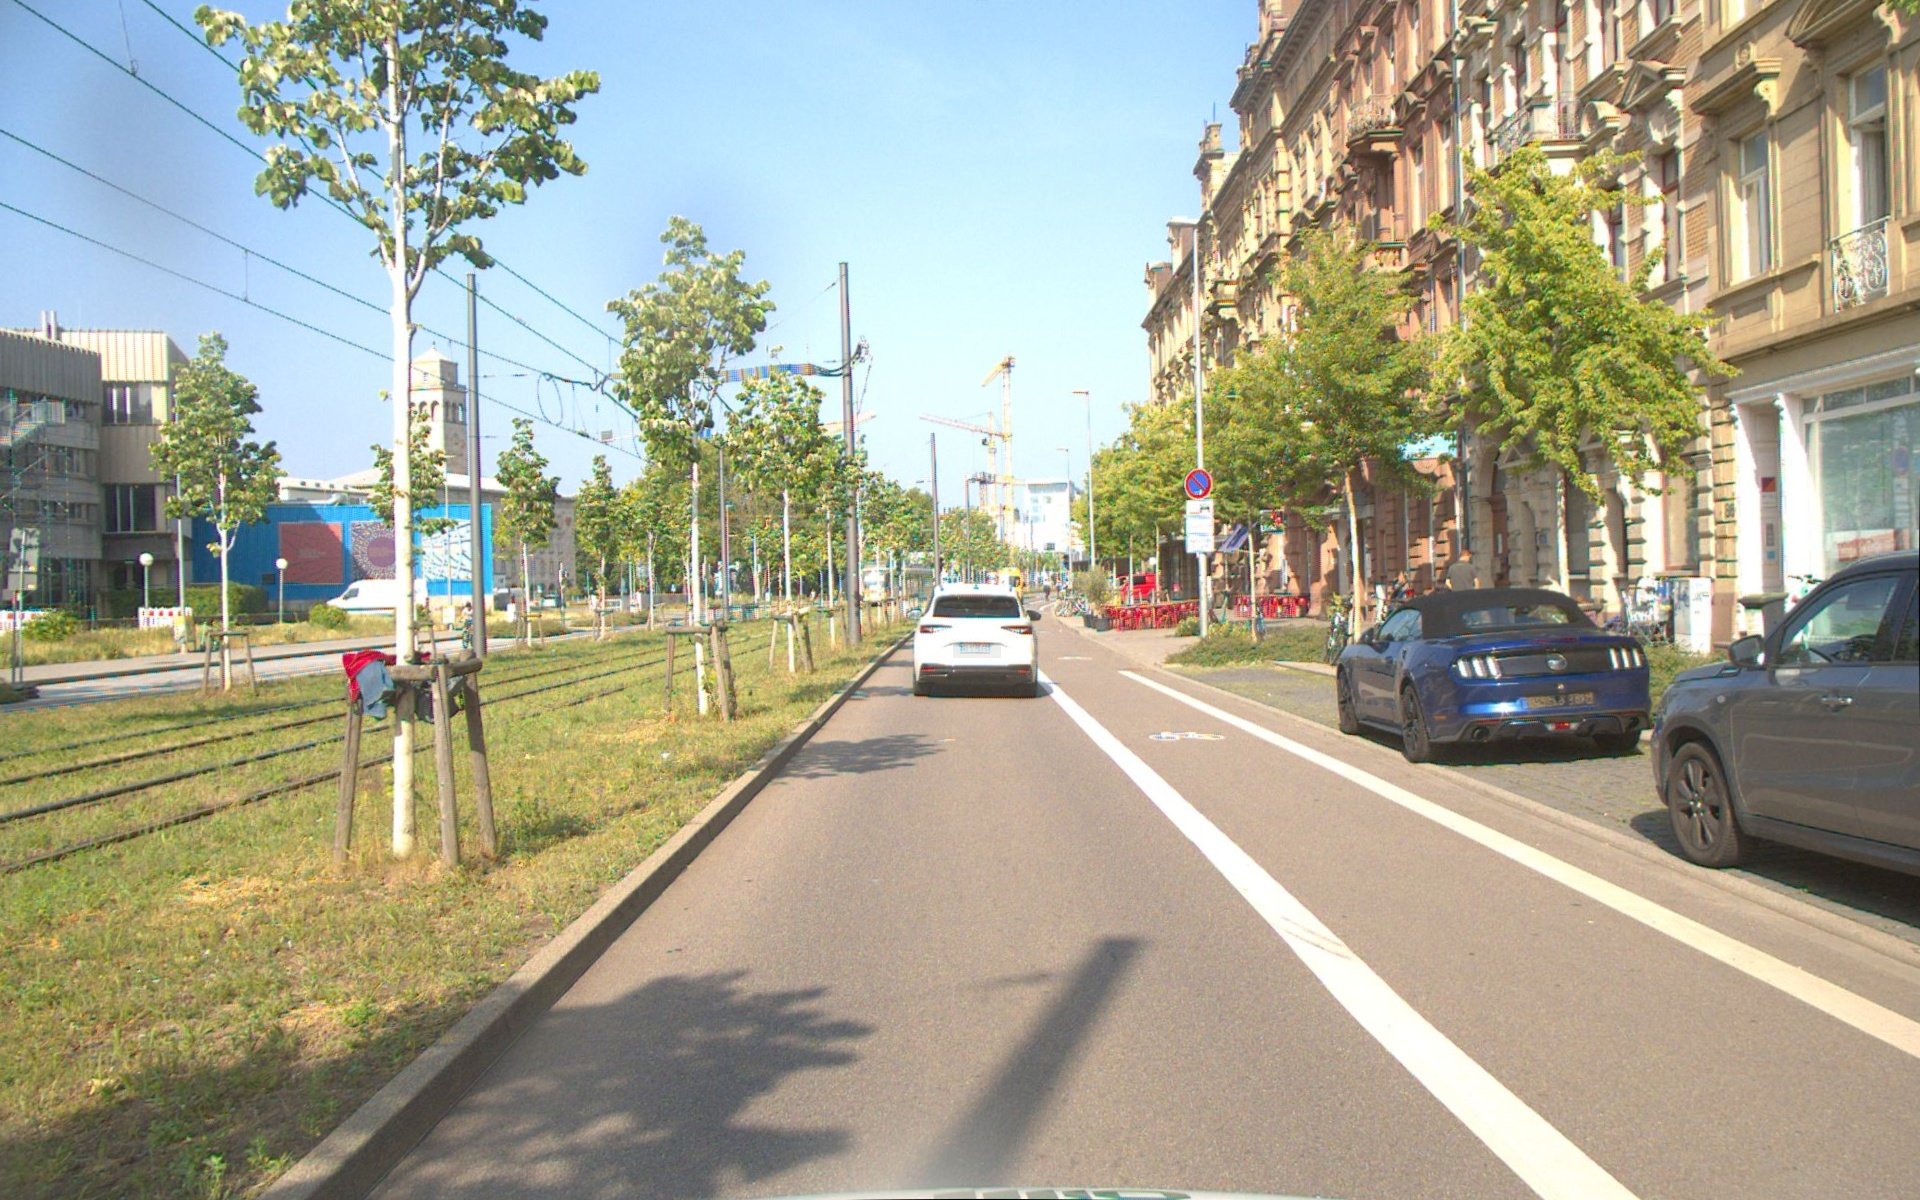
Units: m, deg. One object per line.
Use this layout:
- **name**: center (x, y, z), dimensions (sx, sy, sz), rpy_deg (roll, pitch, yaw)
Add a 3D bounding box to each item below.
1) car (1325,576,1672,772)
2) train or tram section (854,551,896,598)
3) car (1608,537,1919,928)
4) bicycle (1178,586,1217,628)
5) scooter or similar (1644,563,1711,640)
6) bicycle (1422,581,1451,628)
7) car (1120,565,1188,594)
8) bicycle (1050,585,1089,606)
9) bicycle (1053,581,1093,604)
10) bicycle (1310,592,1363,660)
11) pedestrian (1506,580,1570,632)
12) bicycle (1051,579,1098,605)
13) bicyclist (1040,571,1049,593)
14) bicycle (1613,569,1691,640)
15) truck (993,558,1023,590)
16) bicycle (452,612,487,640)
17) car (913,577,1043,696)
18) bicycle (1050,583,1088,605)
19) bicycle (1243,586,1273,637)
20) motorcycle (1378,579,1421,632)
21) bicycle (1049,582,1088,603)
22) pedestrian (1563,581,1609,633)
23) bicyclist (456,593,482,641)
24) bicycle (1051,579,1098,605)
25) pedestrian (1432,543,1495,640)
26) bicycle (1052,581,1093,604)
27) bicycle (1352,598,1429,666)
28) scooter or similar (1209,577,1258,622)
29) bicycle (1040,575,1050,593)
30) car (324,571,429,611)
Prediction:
- **car**: center (4.700, 0.543, 15.200), dimensions (1.701, 1.420, 4.716), rpy_deg (-3, 1, 1)
- **train or tram section**: center (-6.905, -2.030, 136.391), dimensions (2.839, 3.649, 12.476), rpy_deg (-2, 0, -1)
- **car**: center (4.805, 0.514, 7.601), dimensions (1.734, 1.616, 4.245), rpy_deg (-3, 1, -3)
- **bicycle**: center (6.690, 0.187, 46.664), dimensions (0.584, 1.142, 1.924), rpy_deg (-1, 1, -6)
- **scooter or similar**: center (10.943, 0.013, 25.232), dimensions (0.594, 1.144, 0.932), rpy_deg (-1, 1, 0)
- **bicycle**: center (10.834, 0.093, 37.650), dimensions (0.388, 1.036, 1.256), rpy_deg (-1, 0, 5)
- **car**: center (12.397, -1.297, 105.903), dimensions (4.262, 1.713, 2.002), rpy_deg (-1, 1, 6)
- **bicycle**: center (5.484, -0.230, 82.619), dimensions (1.894, 0.889, 0.441), rpy_deg (-4, 0, 1)
- **bicycle**: center (5.513, -0.368, 80.936), dimensions (1.894, 1.003, 0.471), rpy_deg (-4, 0, 1)
- **bicycle**: center (6.524, 0.427, 28.747), dimensions (0.482, 1.113, 1.826), rpy_deg (-1, 1, 0)
- **pedestrian**: center (10.635, 0.104, 30.464), dimensions (0.860, 0.892, 0.710), rpy_deg (-4, 1, -3)
- **bicycle**: center (5.520, -0.388, 80.081), dimensions (2.193, 1.123, 0.519), rpy_deg (-4, 0, 1)
- **bicyclist**: center (7.454, -1.603, 145.900), dimensions (0.694, 1.928, 0.843), rpy_deg (-1, 1, 1)
- **bicycle**: center (11.058, 0.061, 26.467), dimensions (0.442, 1.102, 1.445), rpy_deg (-2, 1, -9)
- **truck**: center (3.662, -1.969, 126.303), dimensions (2.167, 2.358, 5.892), rpy_deg (-1, 1, 2)
- **bicycle**: center (-18.548, 0.987, 62.550), dimensions (0.648, 0.978, 2.078), rpy_deg (-3, 0, 0)
- **car**: center (0.253, 0.477, 25.023), dimensions (1.780, 1.617, 4.407), rpy_deg (-1, 1, 0)
- **bicycle**: center (5.565, -0.313, 84.273), dimensions (1.894, 1.030, 0.441), rpy_deg (-4, 0, 4)
- **bicycle**: center (6.959, 0.253, 38.568), dimensions (0.494, 1.078, 1.715), rpy_deg (-3, 1, 15)
- **motorcycle**: center (10.442, 0.121, 39.343), dimensions (0.454, 1.196, 1.945), rpy_deg (-4, 0, 0)
- **bicycle**: center (5.567, -0.396, 84.769), dimensions (1.894, 0.962, 0.441), rpy_deg (-4, 0, 4)
- **pedestrian**: center (10.850, 0.118, 28.692), dimensions (0.559, 0.869, 0.457), rpy_deg (-4, 1, -6)
- **bicyclist**: center (-18.581, 0.624, 62.583), dimensions (0.634, 1.766, 0.918), rpy_deg (-3, 0, 0)
- **bicycle**: center (5.493, -0.386, 79.526), dimensions (2.193, 1.123, 0.588), rpy_deg (-4, 0, 1)
- **pedestrian**: center (9.327, -0.155, 30.681), dimensions (0.807, 1.726, 0.792), rpy_deg (-4, 1, -4)
- **bicycle**: center (5.541, -0.369, 81.416), dimensions (1.915, 1.003, 0.471), rpy_deg (-4, 0, 1)
- **bicycle**: center (7.265, 0.527, 27.865), dimensions (0.447, 1.101, 1.867), rpy_deg (-3, -2, 41)
- **scooter or similar**: center (7.547, -0.015, 45.595), dimensions (1.230, 1.177, 0.340), rpy_deg (-4, 0, 4)
- **bicycle**: center (7.464, -1.440, 146.062), dimensions (0.765, 1.522, 2.801), rpy_deg (-2, 1, 1)
- **car**: center (-40.496, -0.629, 114.811), dimensions (6.776, 2.684, 2.499), rpy_deg (1, 0, -21)
